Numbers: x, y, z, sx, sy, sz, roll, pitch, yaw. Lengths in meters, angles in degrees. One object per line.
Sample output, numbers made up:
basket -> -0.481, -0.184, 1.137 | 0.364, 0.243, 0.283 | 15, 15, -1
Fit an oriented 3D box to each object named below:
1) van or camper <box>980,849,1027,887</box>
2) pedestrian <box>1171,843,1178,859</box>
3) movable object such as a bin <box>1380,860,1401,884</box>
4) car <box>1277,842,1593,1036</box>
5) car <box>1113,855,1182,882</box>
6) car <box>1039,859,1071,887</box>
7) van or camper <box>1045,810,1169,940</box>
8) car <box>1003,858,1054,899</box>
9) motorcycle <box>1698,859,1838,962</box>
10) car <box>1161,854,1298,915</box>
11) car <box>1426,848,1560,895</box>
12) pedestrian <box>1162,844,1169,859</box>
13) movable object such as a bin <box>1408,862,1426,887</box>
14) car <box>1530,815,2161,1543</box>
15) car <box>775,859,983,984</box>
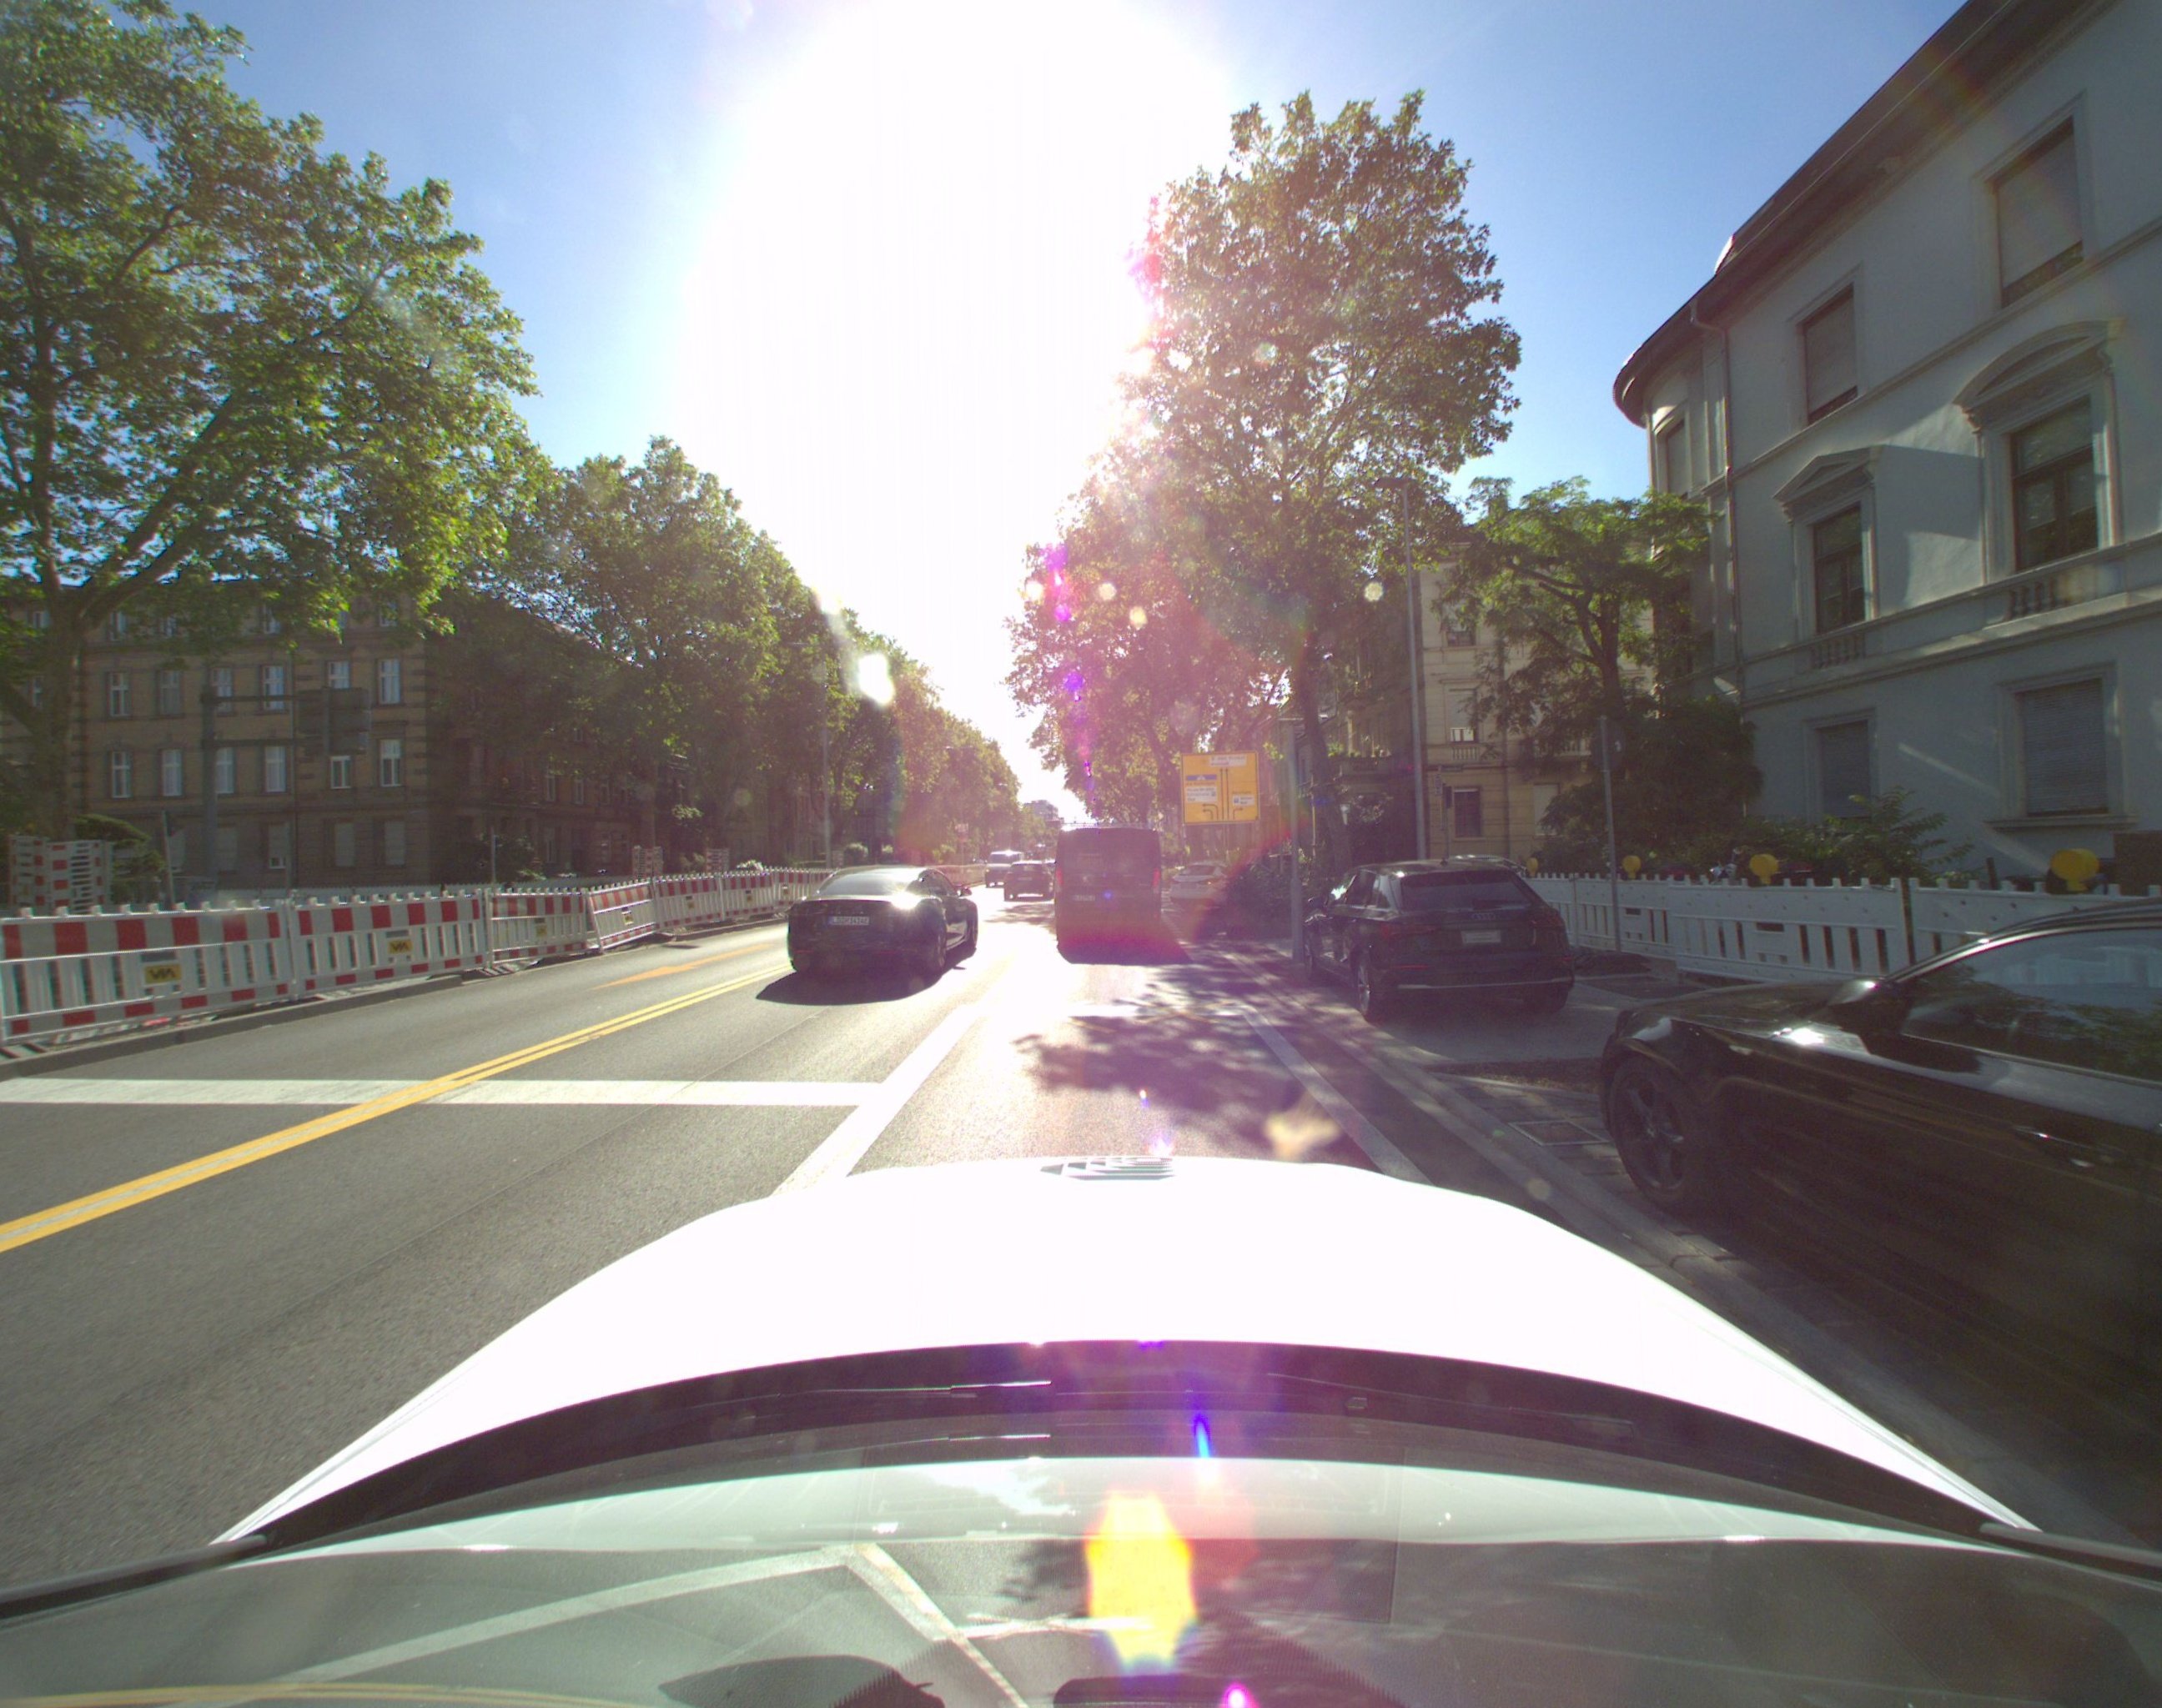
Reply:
van or camper -> -4.376, 0.784, 47.006 | 1.986, 2.014, 5.331 | -1, 0, 2
pedestrian -> 14.178, -0.437, 123.601 | 1.053, 2.346, 0.817 | 0, -1, 4
movable object such as a bin -> 12.901, 0.744, 33.952 | 0.684, 0.970, 0.548 | -2, -1, 4
car -> 3.368, 0.701, 8.679 | 1.614, 1.486, 4.099 | -3, 0, 2
car -> 4.011, 0.849, 49.585 | 3.950, 1.568, 1.789 | 0, -1, 43
car -> -1.442, 1.037, 46.369 | 1.614, 1.486, 3.735 | -1, 0, 2
van or camper -> 0.500, 0.389, 17.225 | 2.238, 2.346, 4.537 | -1, 0, 0
car -> -1.961, 0.894, 31.282 | 1.614, 1.486, 3.735 | -1, 0, 2
motorcycle -> 8.592, 0.667, 10.270 | 0.593, 1.186, 1.559 | -2, 0, 8
car -> 4.367, 0.824, 23.629 | 4.080, 1.486, 1.817 | -2, 0, -44
car -> 14.831, 0.617, 29.486 | 3.913, 1.561, 1.875 | -1, 2, 3
pedestrian -> 12.884, -0.419, 124.723 | 1.053, 2.346, 0.817 | 0, -1, 4
movable object such as a bin -> 13.501, 0.822, 32.709 | 0.517, 0.970, 0.399 | -2, -1, 4
car -> 3.025, 0.647, 2.009 | 1.614, 1.486, 4.058 | -3, 0, 2
car -> -2.713, 0.829, 12.096 | 1.831, 1.483, 4.477 | -1, 0, 2
